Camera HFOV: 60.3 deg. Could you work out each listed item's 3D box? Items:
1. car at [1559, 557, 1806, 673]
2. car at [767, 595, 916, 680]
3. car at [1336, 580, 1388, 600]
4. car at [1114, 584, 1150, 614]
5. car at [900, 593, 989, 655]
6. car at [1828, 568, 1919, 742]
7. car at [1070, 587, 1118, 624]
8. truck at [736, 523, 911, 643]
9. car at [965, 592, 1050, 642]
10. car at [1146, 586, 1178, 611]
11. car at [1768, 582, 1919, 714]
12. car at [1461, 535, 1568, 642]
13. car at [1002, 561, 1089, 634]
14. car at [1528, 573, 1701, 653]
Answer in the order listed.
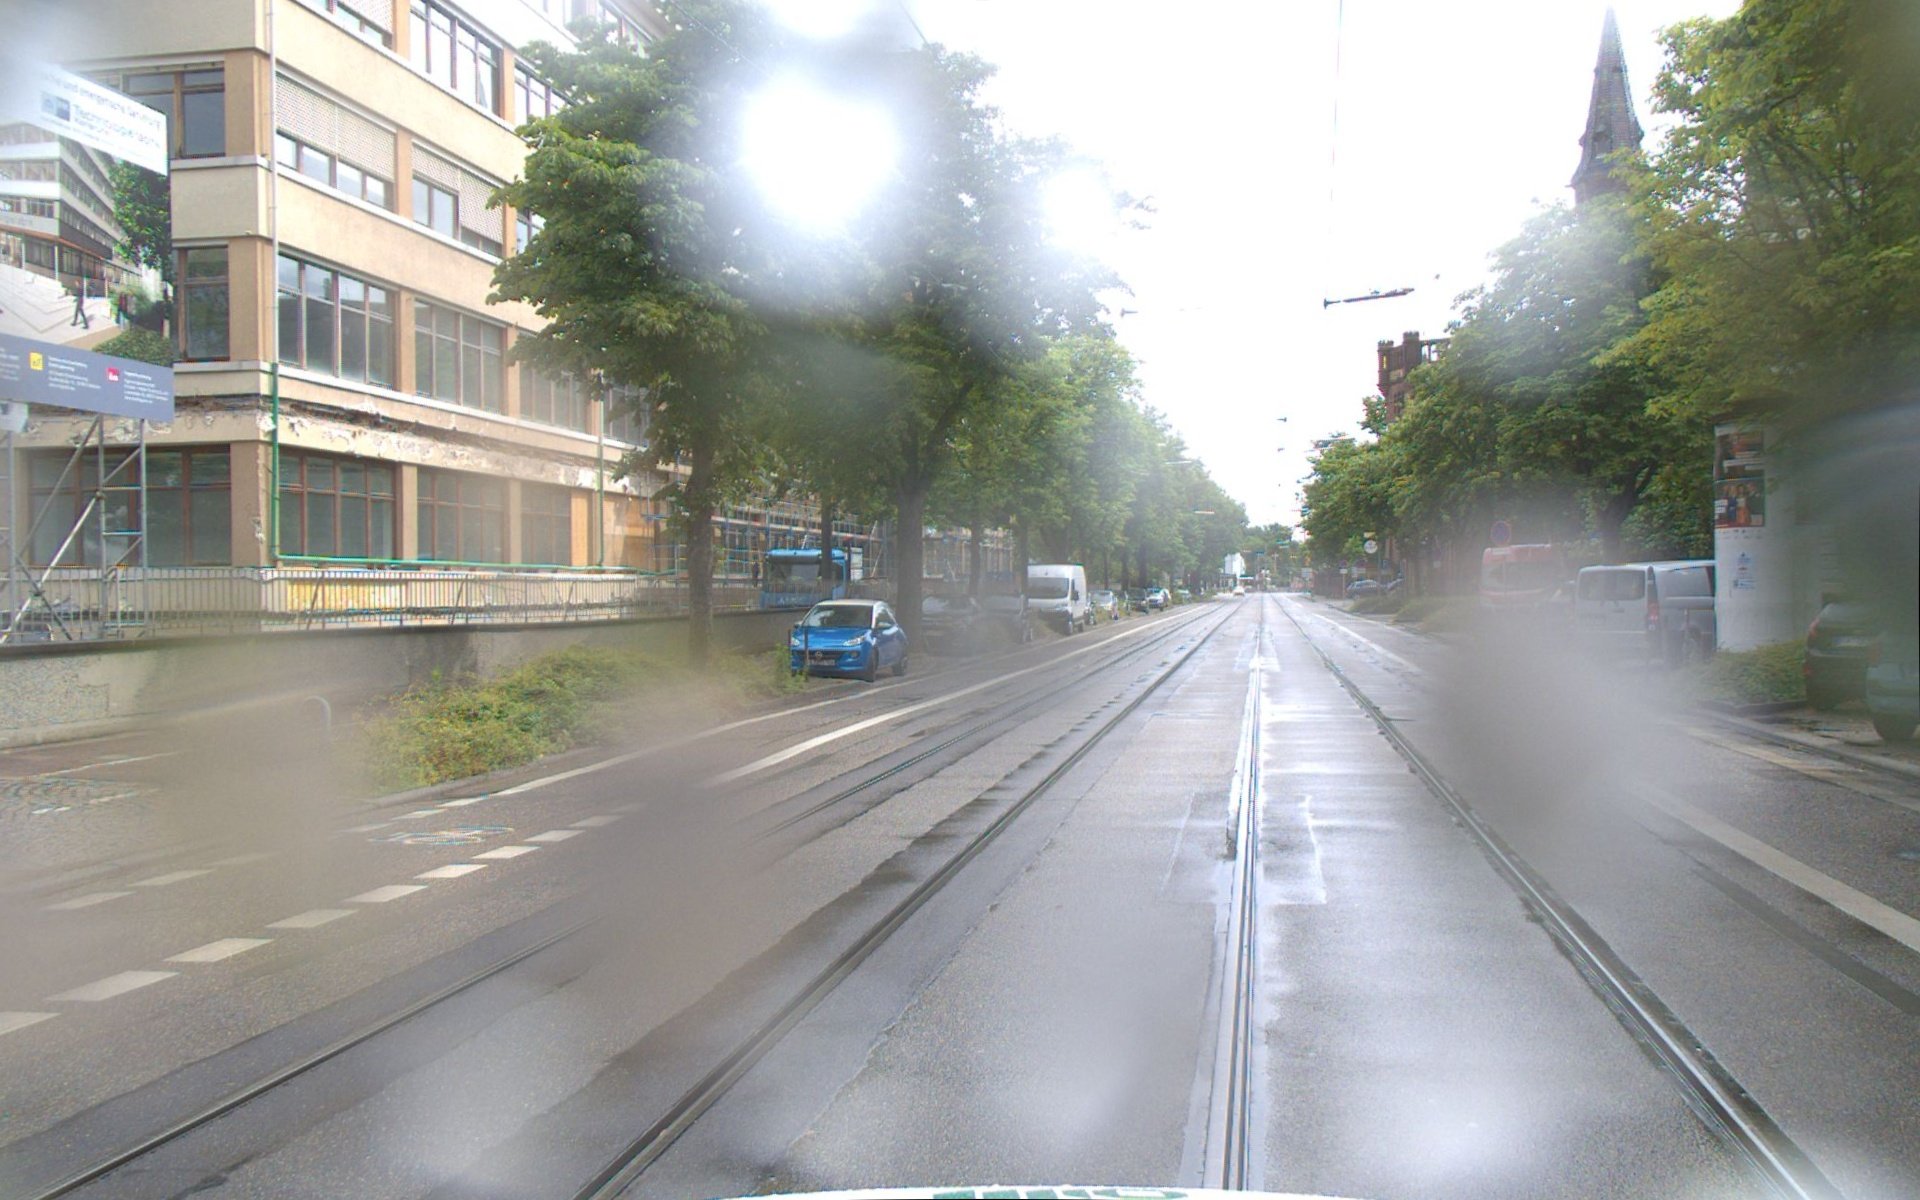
[{"bbox_3d":[13.028,0.216,29.753,4.588,1.930,1.916,-1,1,-33],"label":"car"},{"bbox_3d":[-2.180,0.684,31.641,1.844,1.496,4.003,1,0,11],"label":"car"},{"bbox_3d":[34.187,-0.839,140.644,4.192,1.680,2.001,1,0,16],"label":"car"},{"bbox_3d":[10.829,-0.052,104.010,1.818,1.773,4.003,1,0,13],"label":"car"},{"bbox_3d":[-0.340,0.597,42.340,1.844,1.496,4.002,1,0,5],"label":"car"},{"bbox_3d":[10.223,0.474,16.045,3.605,1.578,1.689,-1,0,-34],"label":"car"},{"bbox_3d":[6.669,0.262,82.126,1.818,1.773,4.003,1,0,13],"label":"car"},{"bbox_3d":[-4.314,-0.497,55.175,3.163,3.589,9.918,1,0,11],"label":"truck"},{"bbox_3d":[1.557,0.520,52.330,1.774,1.496,4.075,1,0,15],"label":"car"},{"bbox_3d":[14.184,-0.073,116.044,1.818,1.666,4.003,1,0,13],"label":"car"},{"bbox_3d":[11.464,0.505,19.845,3.610,1.421,1.747,-1,0,-37],"label":"car"},{"bbox_3d":[15.022,-0.347,44.618,2.249,2.679,5.481,0,1,24],"label":"car"},{"bbox_3d":[3.222,-0.058,60.932,2.533,2.517,6.158,1,0,9],"label":"car"},{"bbox_3d":[14.770,0.256,37.272,4.002,1.592,1.763,-3,2,-36],"label":"car"}]
